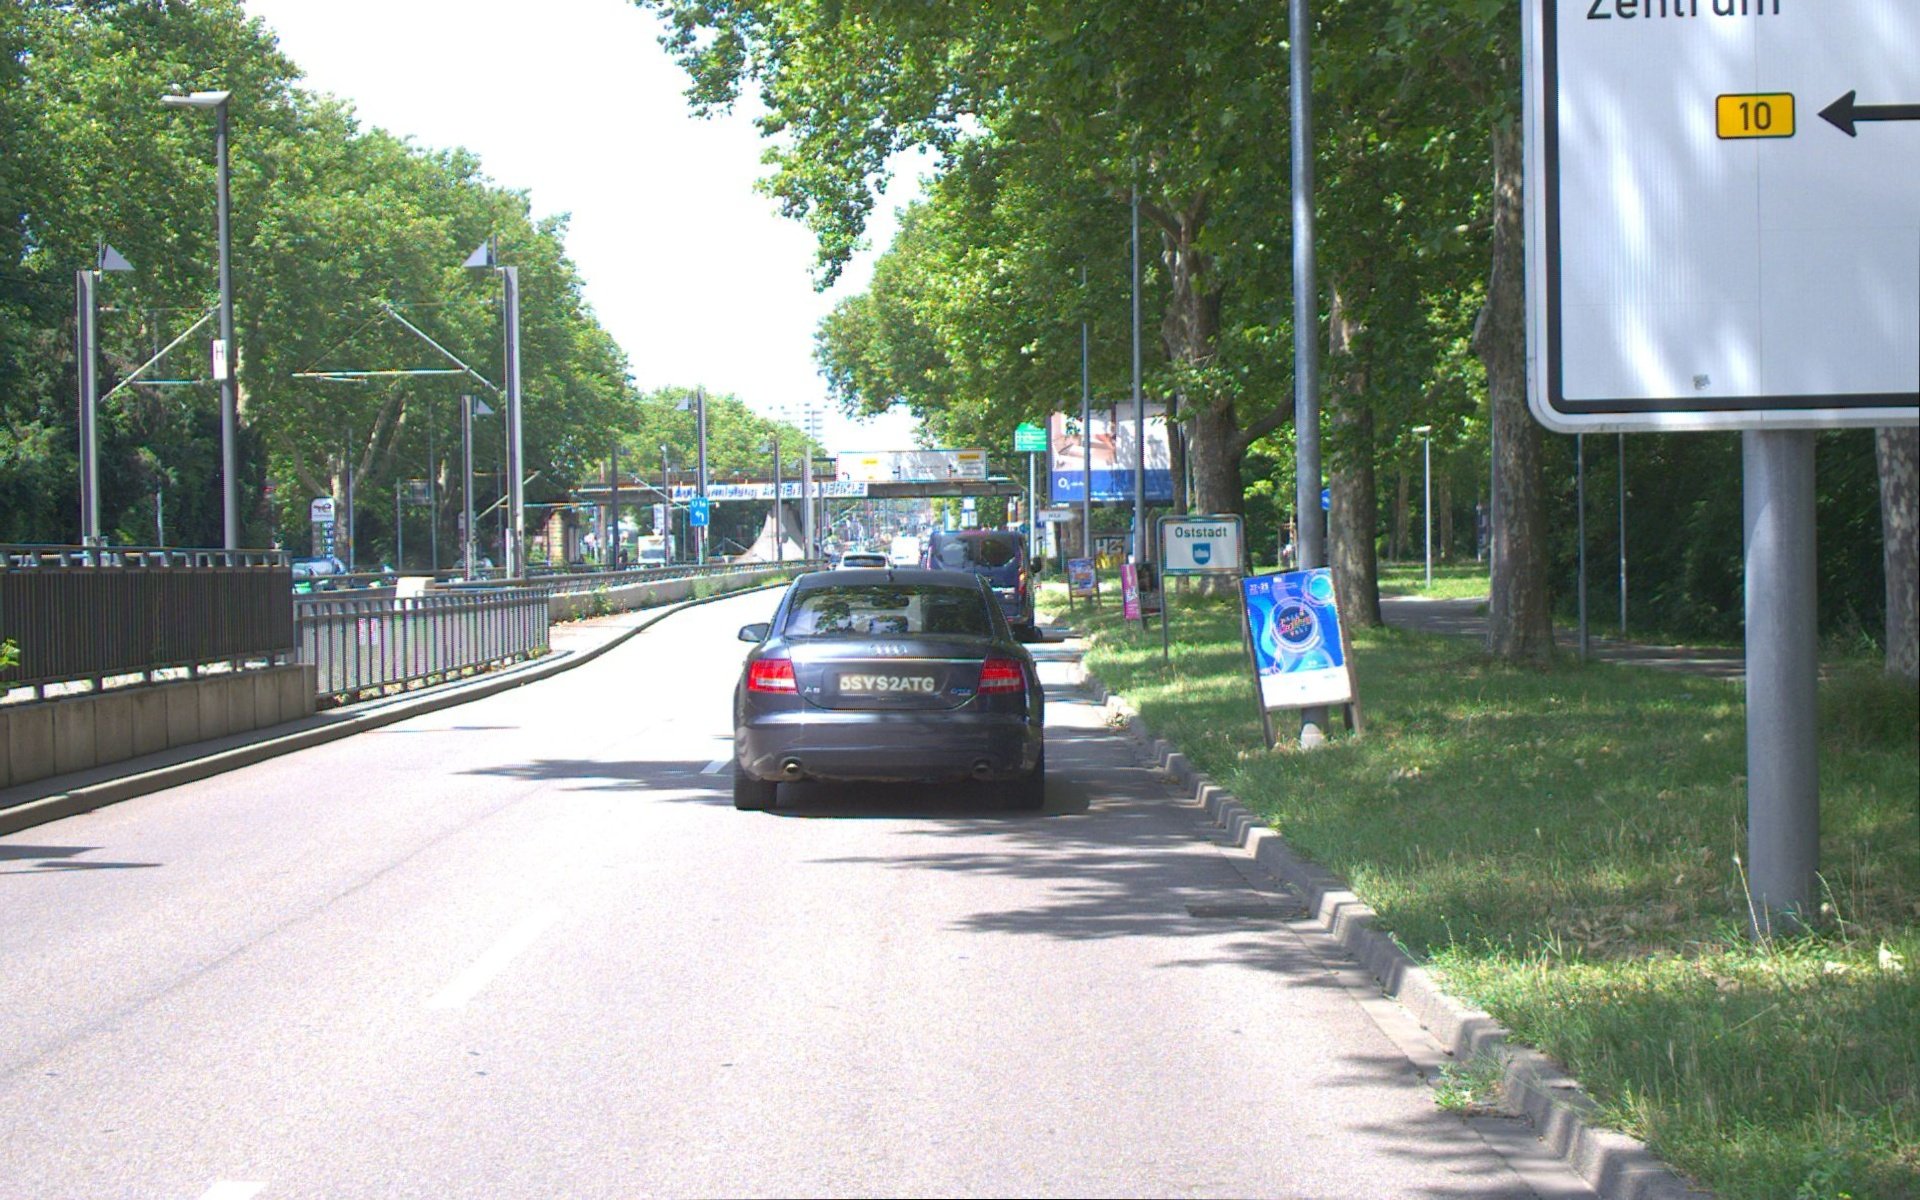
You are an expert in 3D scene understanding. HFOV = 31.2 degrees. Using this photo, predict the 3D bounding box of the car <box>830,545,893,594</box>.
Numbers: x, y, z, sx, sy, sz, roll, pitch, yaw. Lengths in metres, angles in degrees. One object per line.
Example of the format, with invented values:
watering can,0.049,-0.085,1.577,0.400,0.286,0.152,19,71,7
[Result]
car,-2.997,-0.933,104.244,1.845,1.459,4.000,0,1,-2

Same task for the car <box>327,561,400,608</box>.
car,-21.979,-0.577,126.803,1.744,1.678,4.384,-1,1,2

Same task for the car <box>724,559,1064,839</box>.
car,-0.500,0.527,21.125,1.842,1.479,4.001,-1,1,-4

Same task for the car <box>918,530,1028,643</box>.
car,0.269,-0.266,61.957,1.848,1.953,4.144,1,1,2
